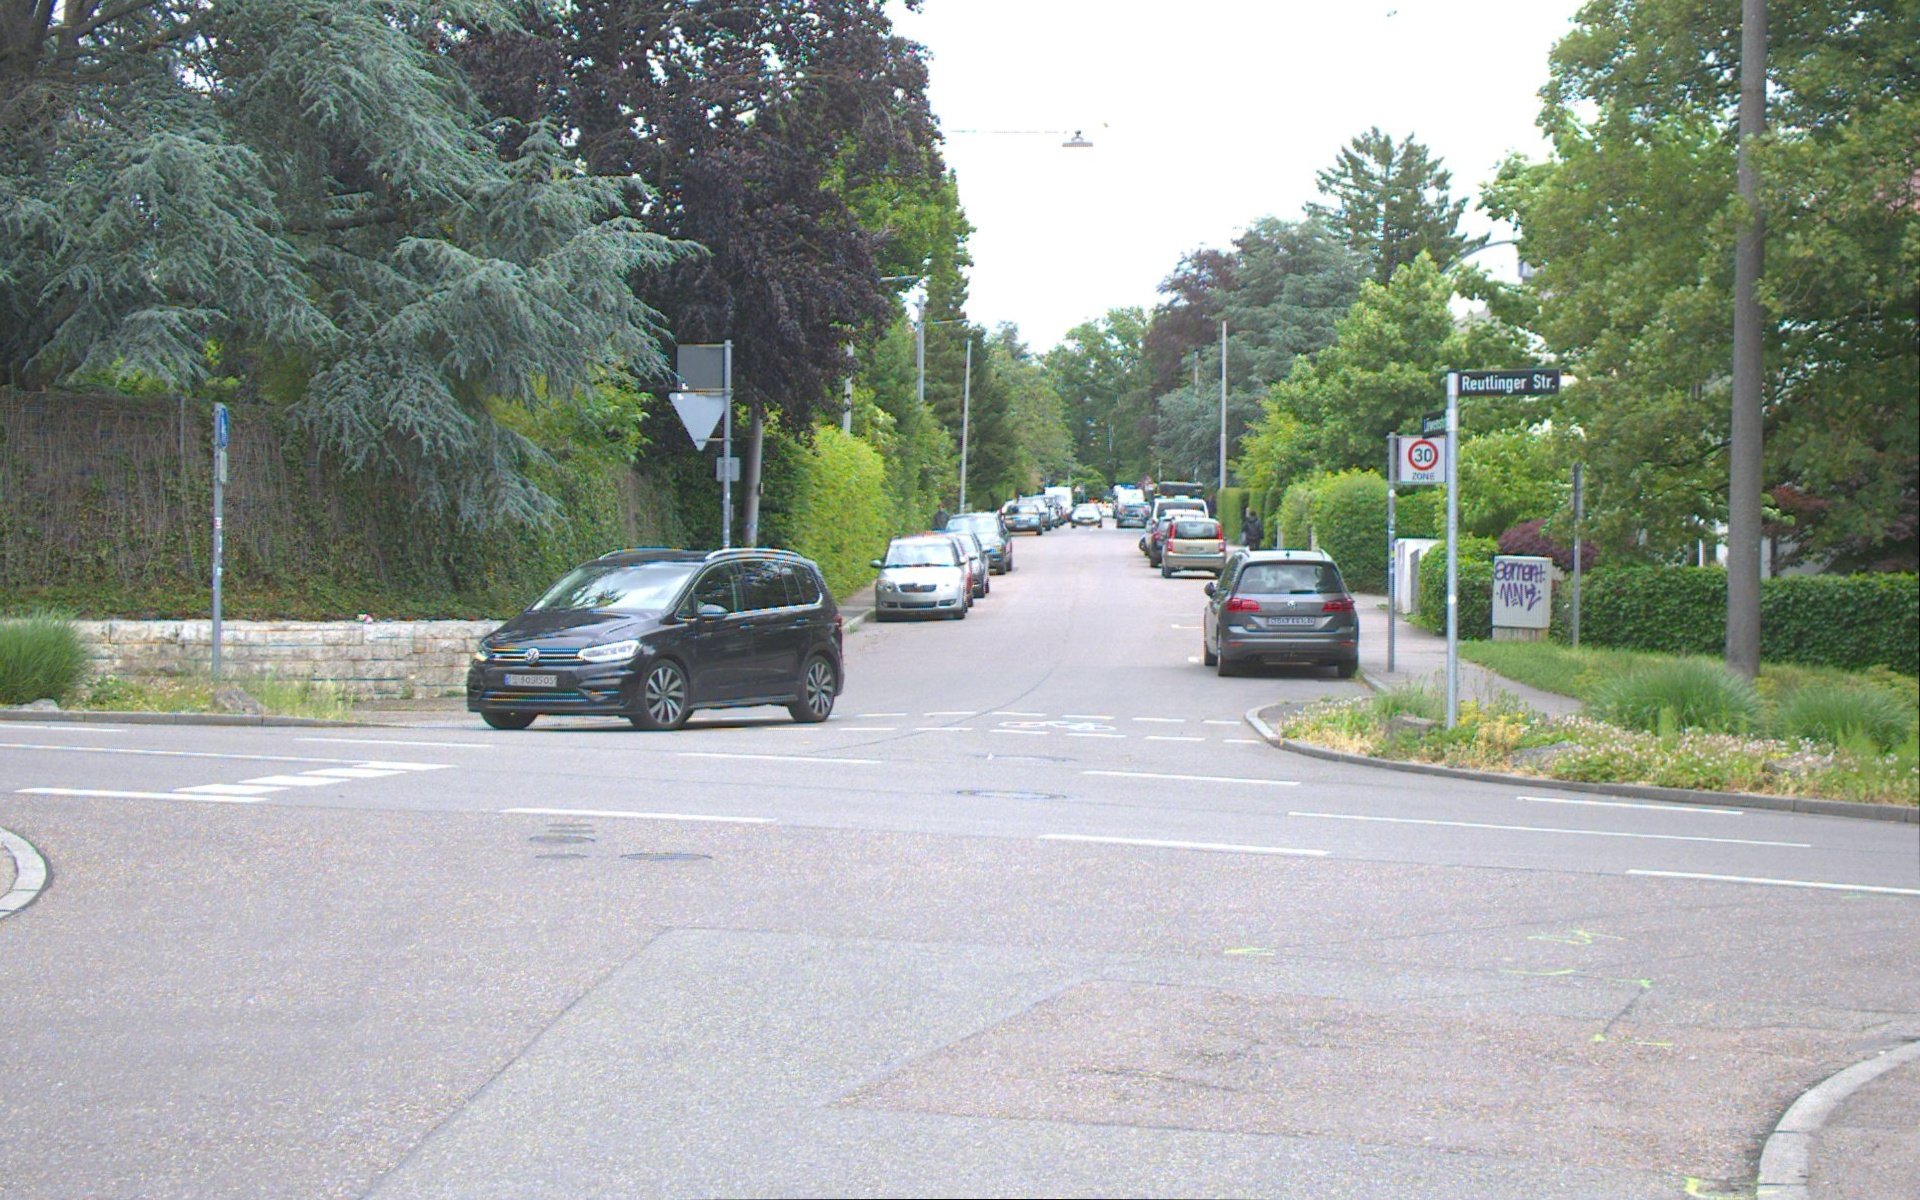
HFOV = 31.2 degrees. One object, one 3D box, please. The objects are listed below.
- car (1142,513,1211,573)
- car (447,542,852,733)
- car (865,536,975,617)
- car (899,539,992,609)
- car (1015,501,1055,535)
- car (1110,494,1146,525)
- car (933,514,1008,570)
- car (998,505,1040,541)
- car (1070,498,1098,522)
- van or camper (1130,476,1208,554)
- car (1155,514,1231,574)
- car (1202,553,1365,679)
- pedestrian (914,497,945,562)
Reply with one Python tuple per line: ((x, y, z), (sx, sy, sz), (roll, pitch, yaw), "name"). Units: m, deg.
((6.088, -1.599, 96.951), (1.747, 1.634, 3.728), (1, 1, 1), "car")
((-2.756, 0.303, 31.563), (1.850, 1.606, 4.306), (1, 1, 24), "car")
((-0.717, -0.452, 64.117), (1.946, 1.437, 4.000), (1, 1, 0), "car")
((-0.287, -0.585, 74.451), (1.946, 1.437, 4.000), (1, 1, 0), "car")
((3.540, -3.854, 161.710), (1.715, 1.458, 3.656), (3, 1, 2), "car")
((9.036, -4.880, 185.168), (1.815, 1.568, 4.000), (1, 1, 2), "car")
((0.296, -1.555, 92.613), (1.946, 1.437, 4.000), (1, 1, 0), "car")
((2.631, -3.400, 152.417), (1.715, 1.458, 3.656), (3, 1, 2), "car")
((7.326, -5.306, 203.023), (1.655, 1.330, 3.781), (1, 1, 2), "car")
((6.589, -2.664, 108.950), (2.112, 2.396, 5.246), (1, 1, 0), "van or camper")
((5.884, -1.432, 87.206), (1.609, 1.409, 3.473), (3, 1, 0), "car")
((4.093, 0.165, 44.019), (1.817, 1.531, 4.000), (0, 1, 2), "car")
((-0.962, -2.221, 108.842), (0.853, 2.007, 0.873), (3, 1, -3), "pedestrian")
